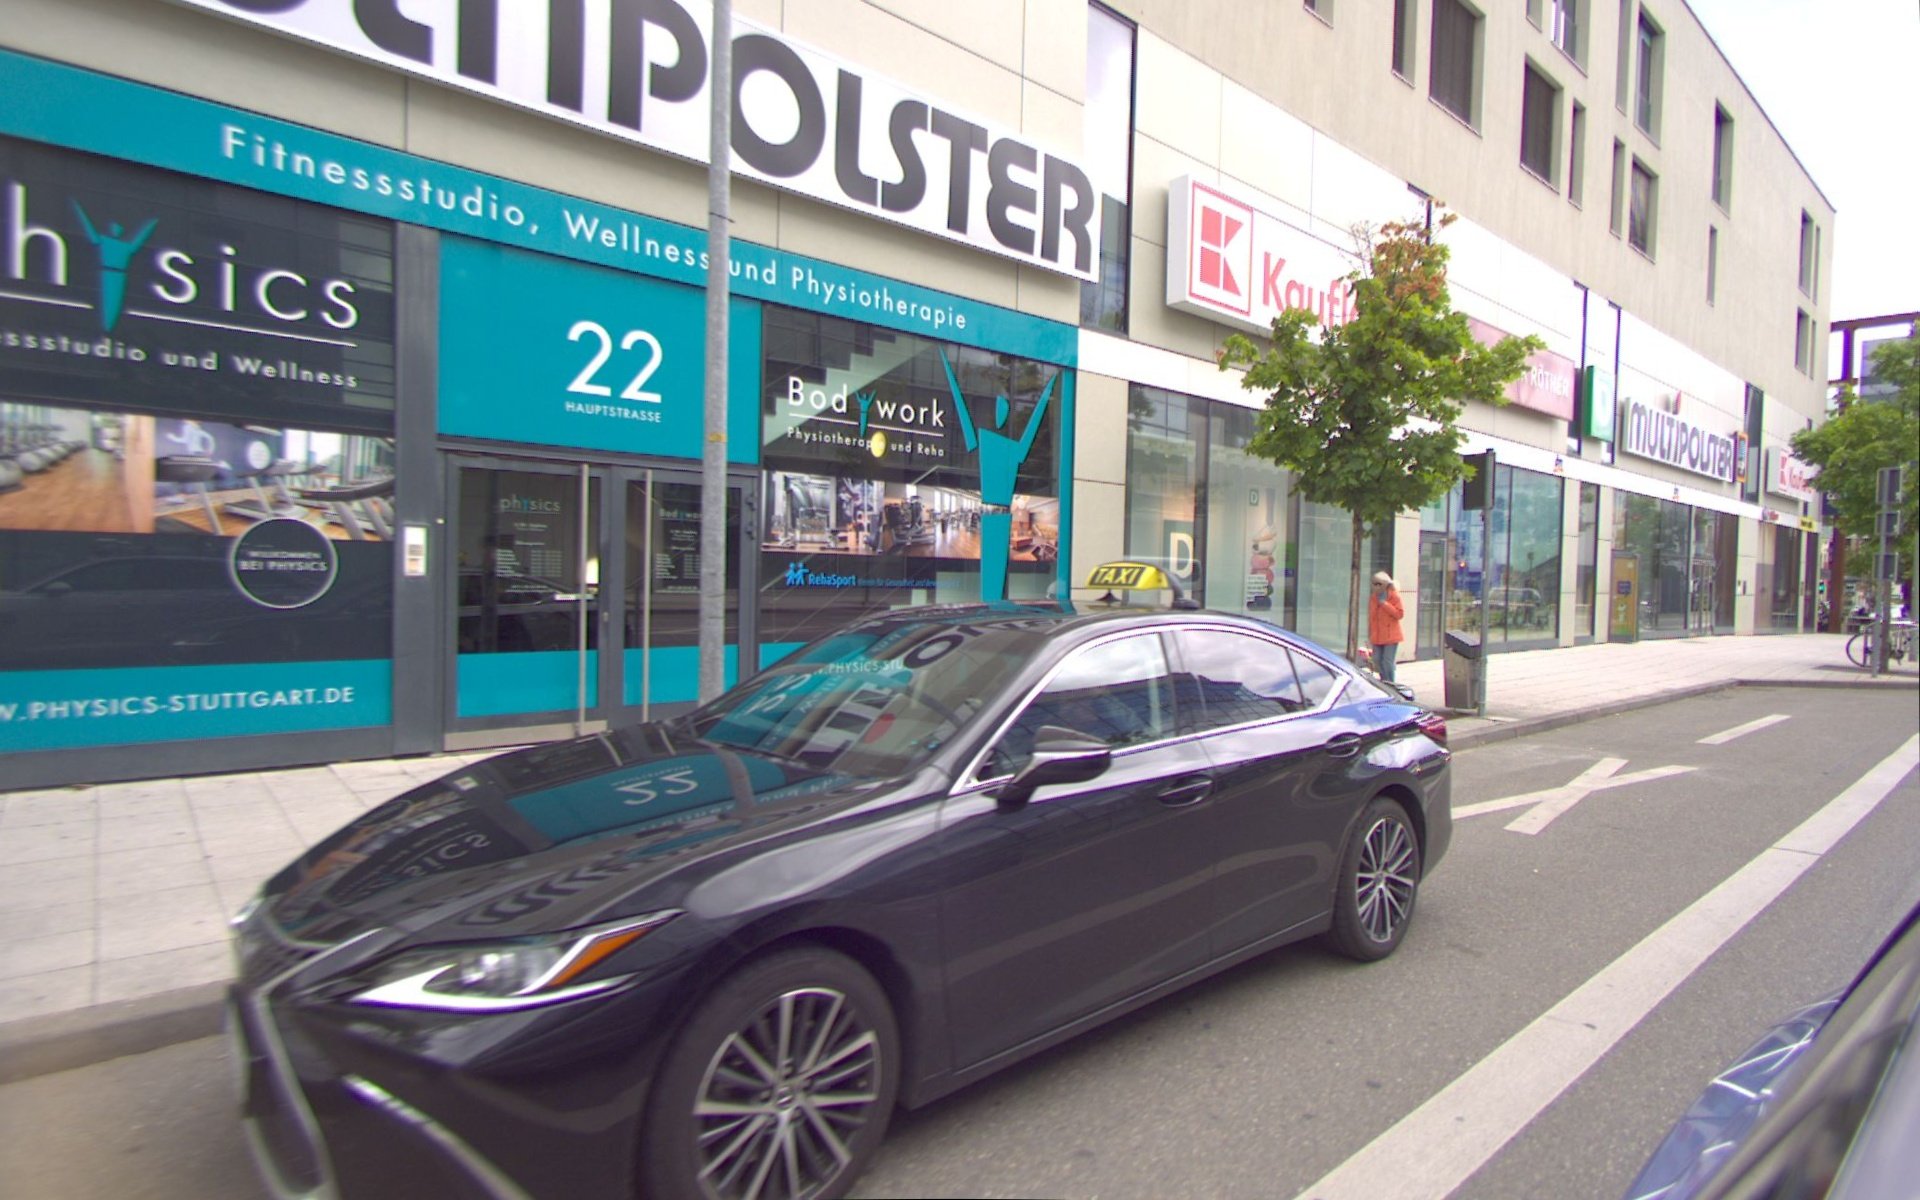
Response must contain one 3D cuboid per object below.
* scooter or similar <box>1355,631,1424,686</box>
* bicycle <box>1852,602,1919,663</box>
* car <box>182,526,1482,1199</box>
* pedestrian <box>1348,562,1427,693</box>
[{"bbox_3d":[5.760,0.772,13.574,0.754,0.642,0.552,0,3,-41],"label":"scooter or similar"},{"bbox_3d":[18.693,0.656,19.843,1.740,1.113,0.553,6,4,43],"label":"bicycle"},{"bbox_3d":[0.091,0.641,3.805,4.707,1.561,1.739,0,1,-41],"label":"car"},{"bbox_3d":[5.438,0.326,12.865,0.719,1.586,0.590,0,3,-41],"label":"pedestrian"}]
